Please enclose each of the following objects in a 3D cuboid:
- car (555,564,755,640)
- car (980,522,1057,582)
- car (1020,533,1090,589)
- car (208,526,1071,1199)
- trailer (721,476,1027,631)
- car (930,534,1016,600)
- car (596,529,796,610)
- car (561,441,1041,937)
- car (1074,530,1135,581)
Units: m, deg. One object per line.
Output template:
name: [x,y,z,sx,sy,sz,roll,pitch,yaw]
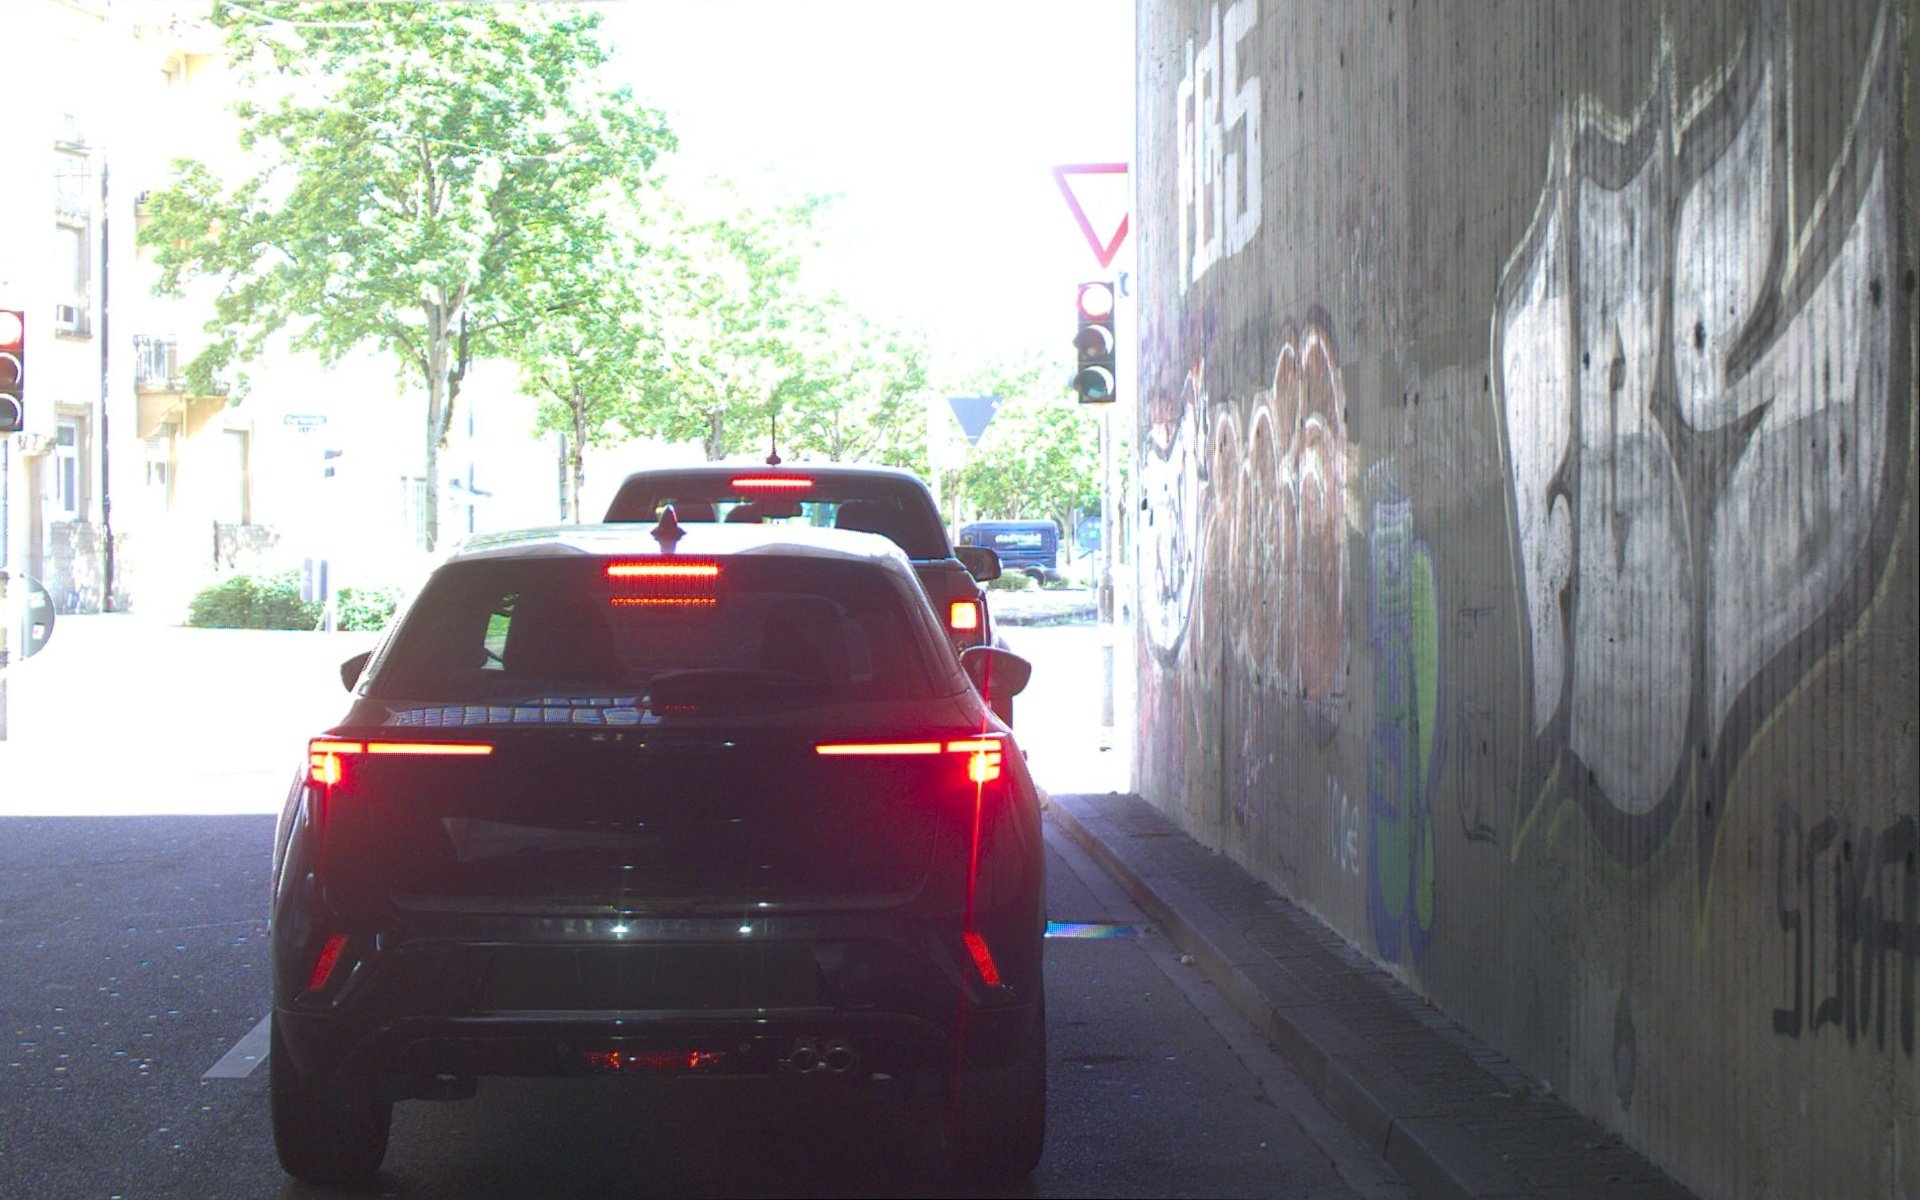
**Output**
car: [-6.344,0.034,71.777,3.987,1.568,1.640,0,1,1]
car: [2.043,-1.660,118.390,1.994,2.007,4.267,0,1,10]
car: [3.530,-1.459,127.482,1.994,2.007,4.267,0,1,10]
car: [-0.761,0.546,9.409,1.826,1.496,4.211,0,1,-2]
trailer: [-1.116,-0.637,46.313,3.987,2.007,2.000,-1,1,2]
car: [0.436,-1.066,107.947,1.994,2.007,4.267,0,1,10]
car: [-5.819,-0.679,76.161,4.151,1.733,2.000,0,1,5]
car: [-0.723,0.291,15.434,1.815,1.876,4.586,-1,1,-3]
car: [5.977,-1.846,141.688,1.994,2.007,4.267,0,1,10]
